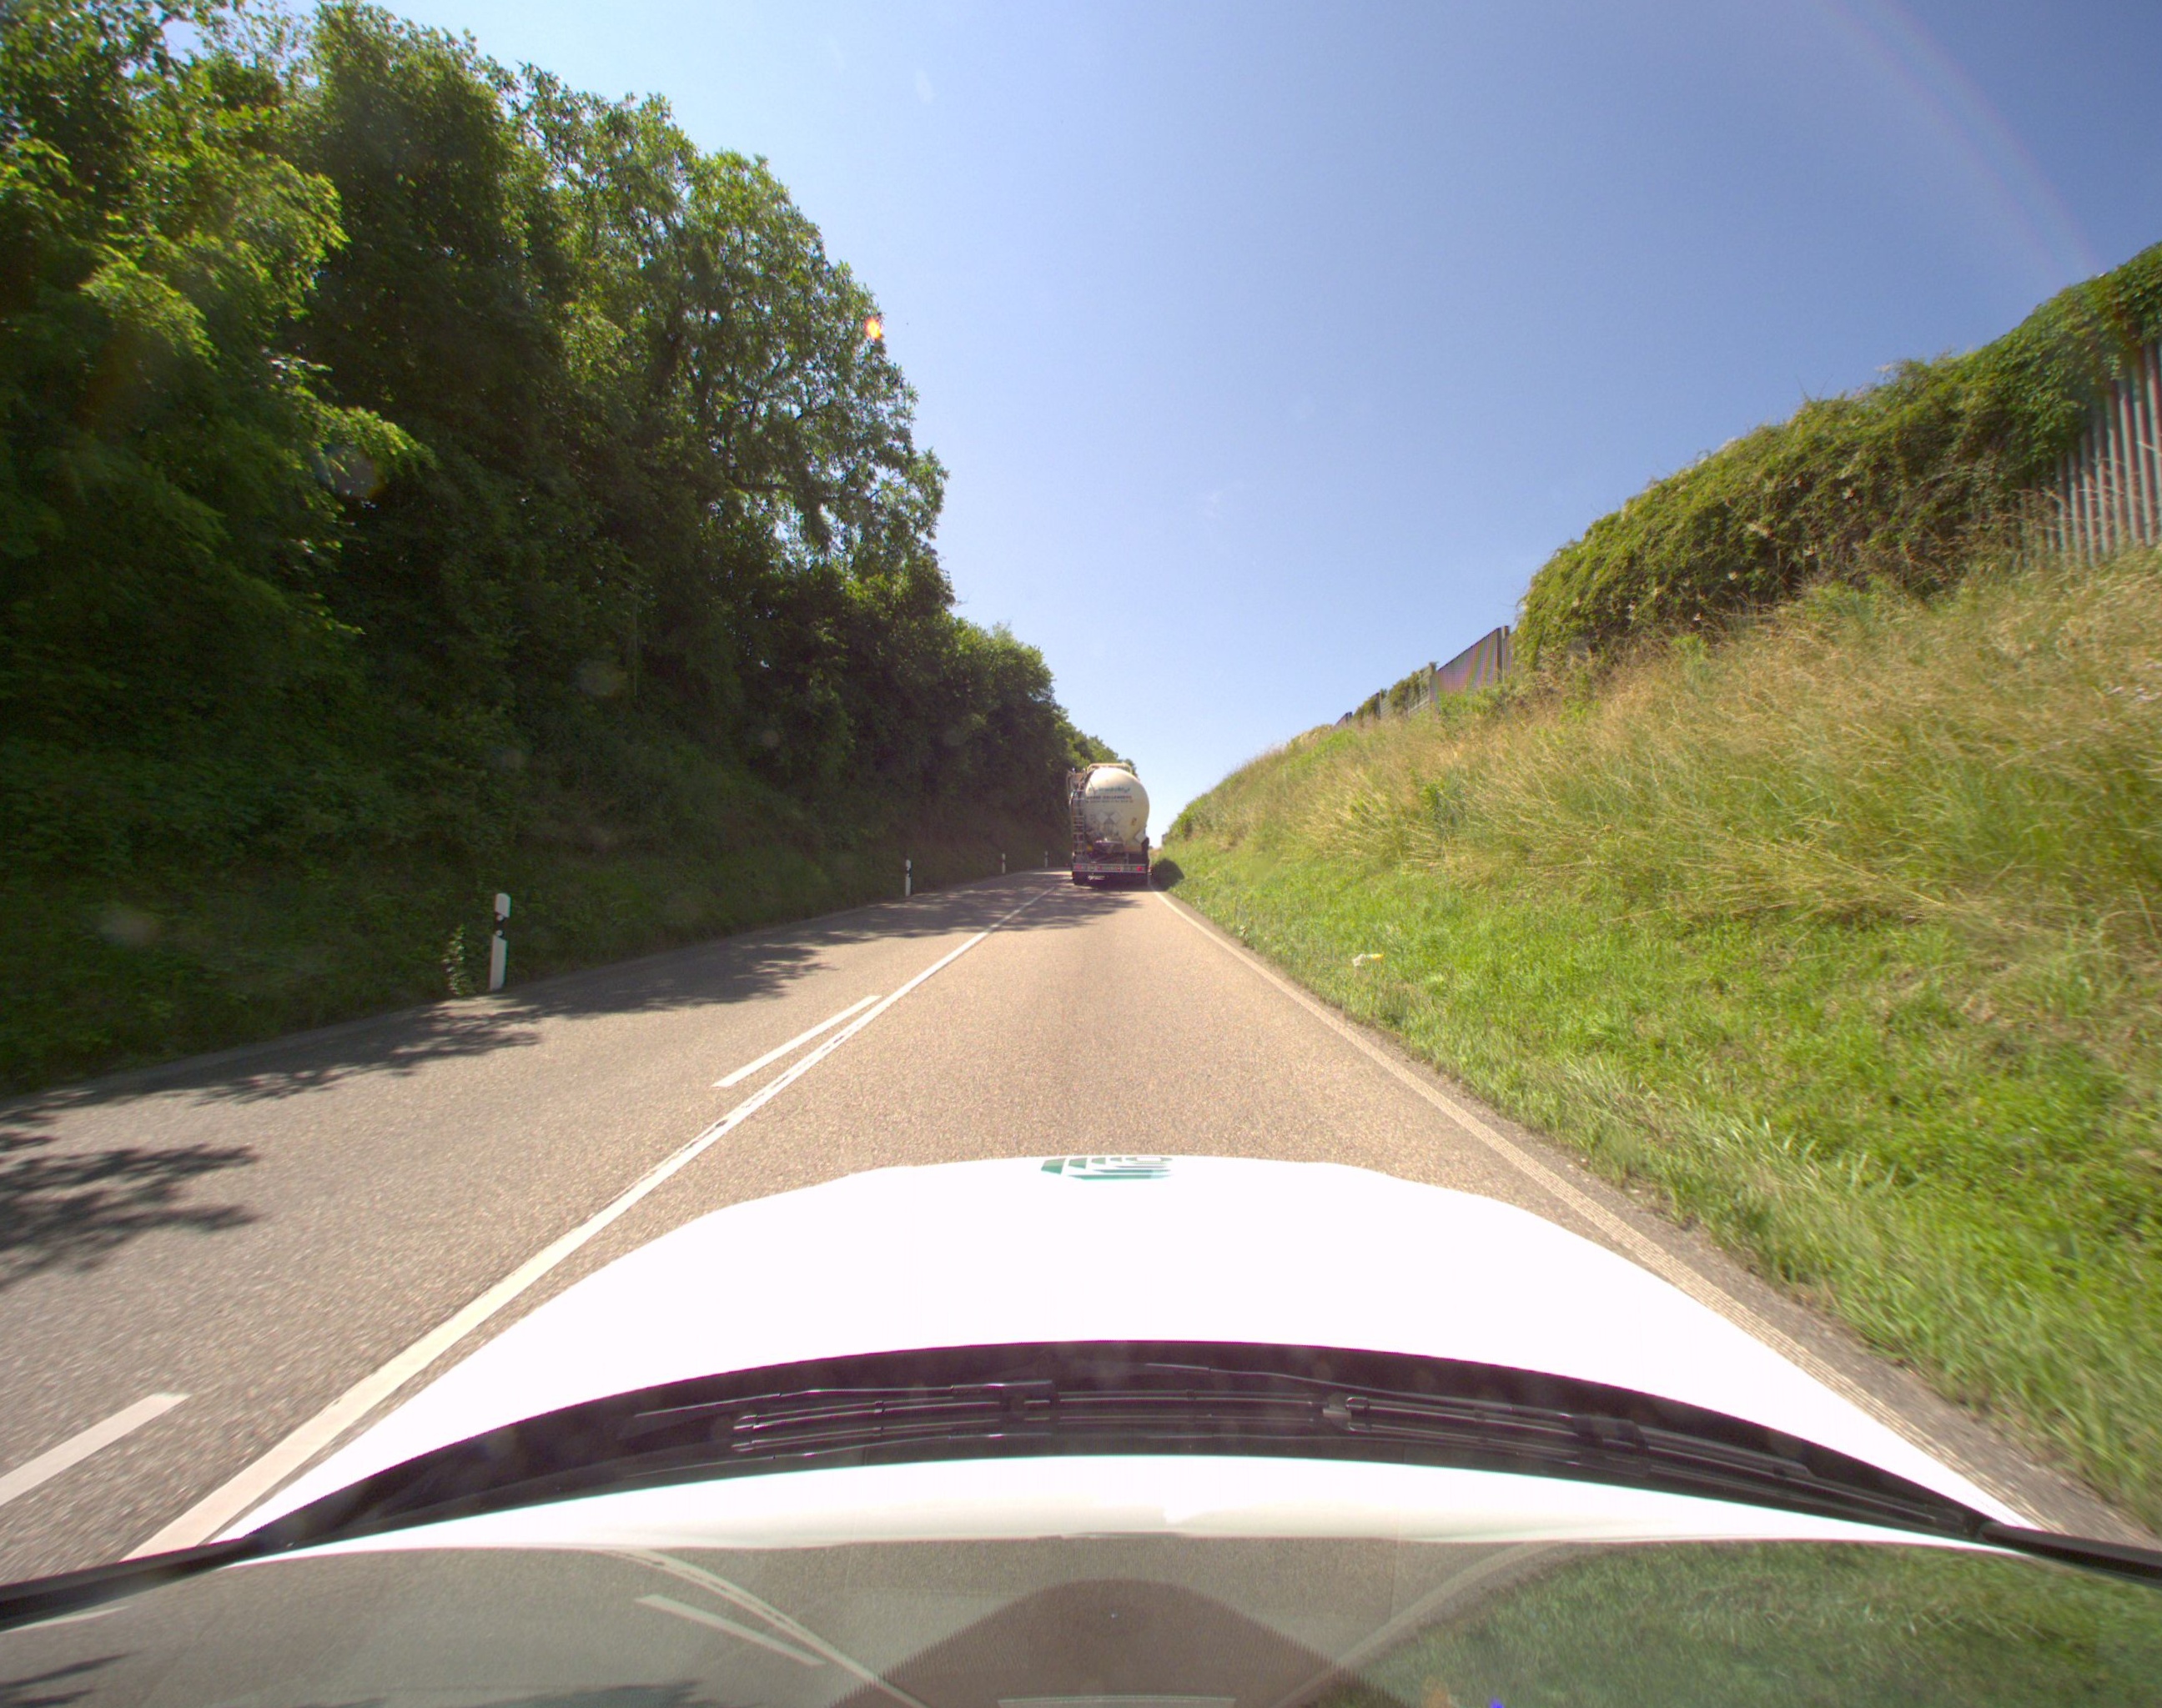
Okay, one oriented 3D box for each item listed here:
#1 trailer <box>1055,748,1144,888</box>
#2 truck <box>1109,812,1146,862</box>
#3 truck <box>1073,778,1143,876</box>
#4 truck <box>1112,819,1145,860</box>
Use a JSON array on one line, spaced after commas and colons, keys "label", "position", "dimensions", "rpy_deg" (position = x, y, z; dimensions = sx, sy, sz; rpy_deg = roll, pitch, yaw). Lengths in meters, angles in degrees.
[{"label": "trailer", "position": [0.918, -1.210, 30.665], "dimensions": [2.650, 4.188, 11.916], "rpy_deg": [-1, 1, 3]}, {"label": "truck", "position": [4.517, -1.597, 77.752], "dimensions": [3.176, 4.309, 11.814], "rpy_deg": [1, 1, 4]}, {"label": "truck", "position": [1.351, -1.167, 36.558], "dimensions": [2.714, 3.929, 7.274], "rpy_deg": [0, 1, 5]}, {"label": "truck", "position": [4.889, -1.445, 83.784], "dimensions": [3.176, 3.933, 8.259], "rpy_deg": [-1, 0, 4]}]
